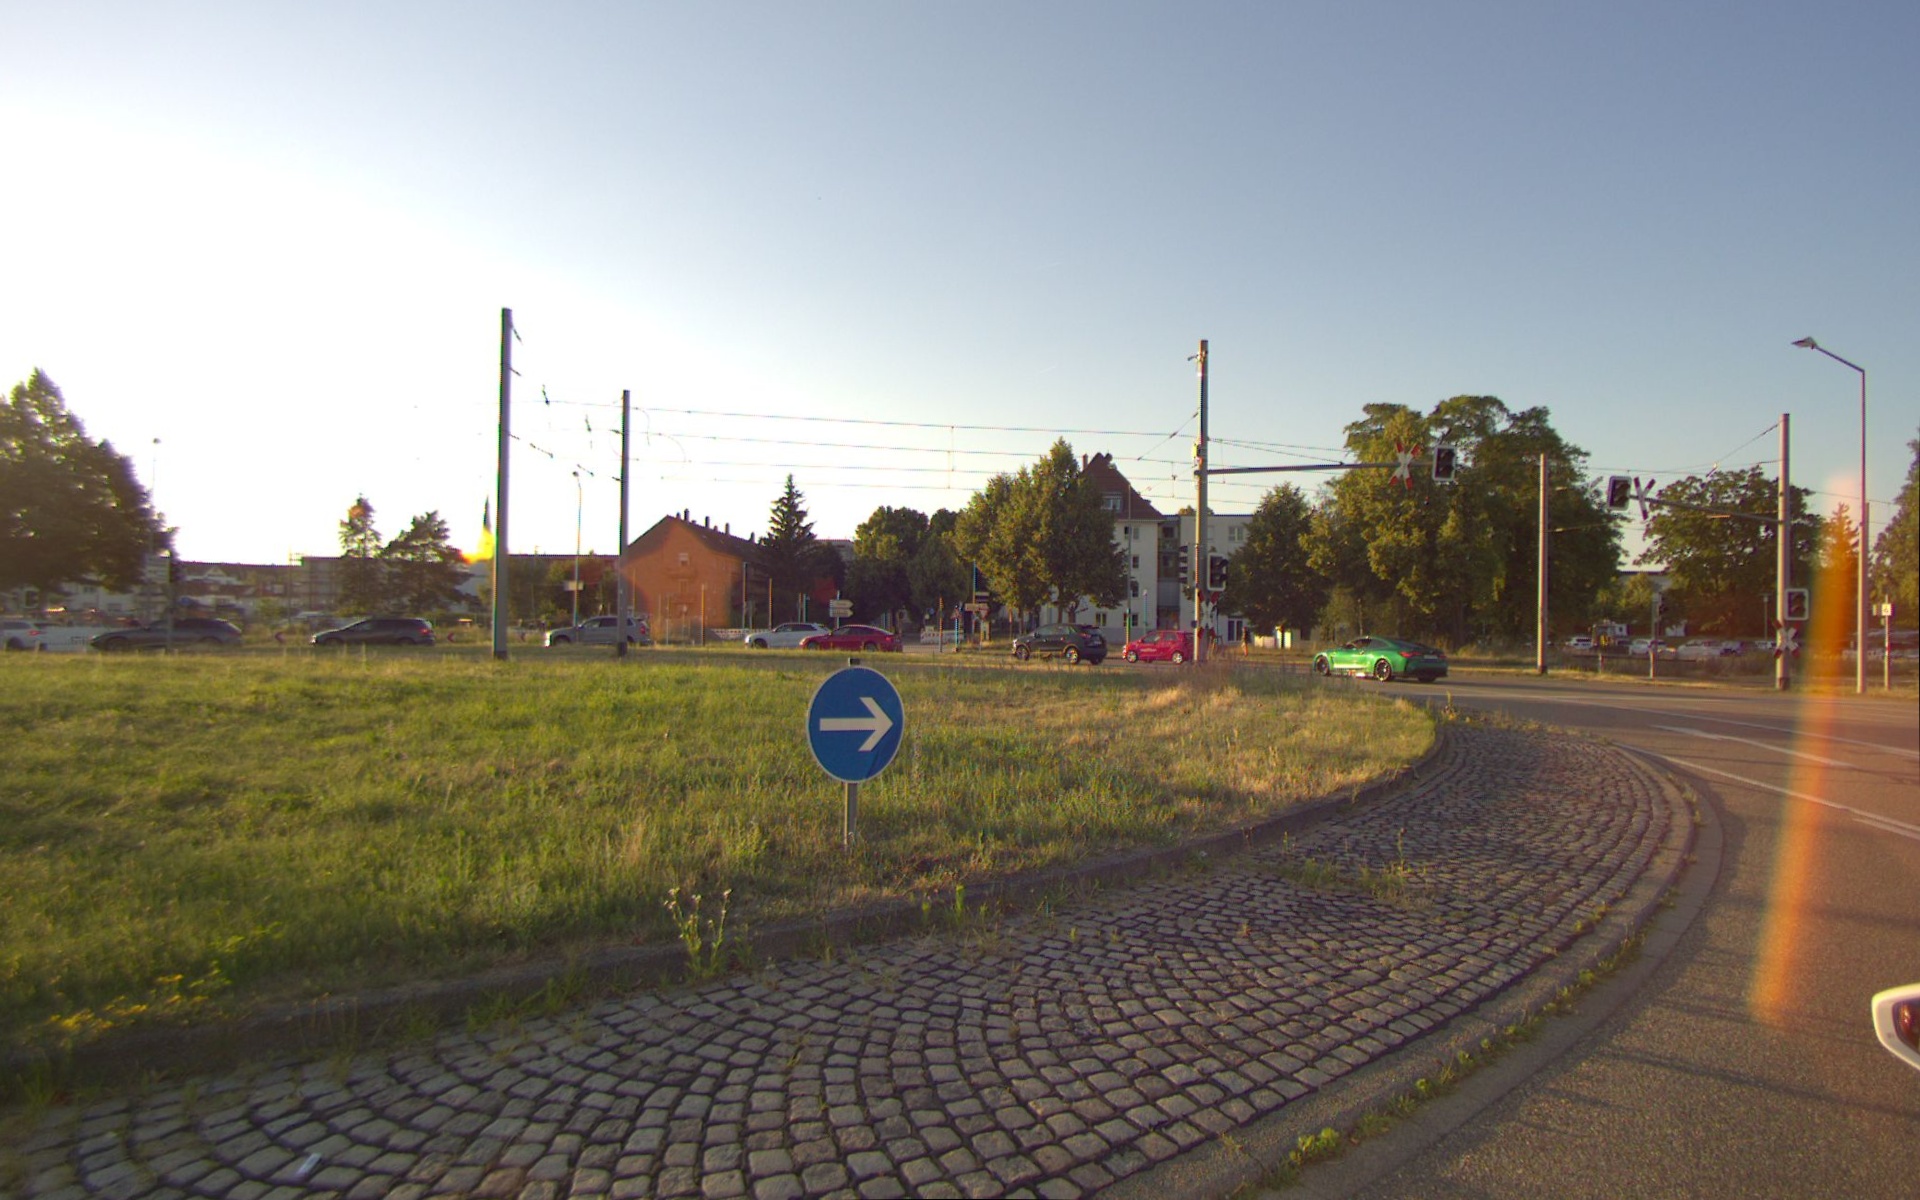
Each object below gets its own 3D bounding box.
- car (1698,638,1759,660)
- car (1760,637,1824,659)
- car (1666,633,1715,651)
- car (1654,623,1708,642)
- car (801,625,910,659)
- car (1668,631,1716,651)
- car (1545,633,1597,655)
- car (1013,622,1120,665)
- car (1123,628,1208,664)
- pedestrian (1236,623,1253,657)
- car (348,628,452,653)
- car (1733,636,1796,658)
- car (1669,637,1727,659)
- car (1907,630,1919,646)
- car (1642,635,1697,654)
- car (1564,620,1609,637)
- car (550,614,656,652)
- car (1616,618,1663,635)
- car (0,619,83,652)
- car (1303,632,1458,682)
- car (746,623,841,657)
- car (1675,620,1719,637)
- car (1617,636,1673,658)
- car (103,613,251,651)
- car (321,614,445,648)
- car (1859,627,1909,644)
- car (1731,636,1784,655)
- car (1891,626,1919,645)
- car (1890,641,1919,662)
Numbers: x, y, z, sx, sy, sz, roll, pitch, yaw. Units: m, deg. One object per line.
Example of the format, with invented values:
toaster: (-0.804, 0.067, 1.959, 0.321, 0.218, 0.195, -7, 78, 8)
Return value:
car: (61.606, 3.909, 80.572, 1.960, 1.625, 4.002, 1, -1, 3)
car: (66.340, 3.786, 80.182, 1.960, 1.625, 4.002, 1, -1, 3)
car: (73.130, 4.186, 100.588, 3.934, 1.684, 1.994, 0, -1, 35)
car: (80.197, 3.644, 111.753, 4.507, 2.040, 2.000, 1, -1, 0)
car: (-4.600, 1.835, 44.499, 4.408, 1.410, 1.896, 0, -1, 19)
car: (75.600, 4.220, 103.860, 3.934, 2.040, 1.994, 0, -1, 35)
car: (49.385, 3.542, 81.239, 1.960, 1.625, 4.002, 1, -1, 3)
car: (4.185, 1.689, 39.979, 1.883, 1.605, 3.947, 2, -1, -45)
car: (9.234, 2.031, 45.248, 3.440, 1.519, 1.634, 0, -1, 42)
pedestrian: (16.486, 2.298, 58.213, 0.614, 1.918, 0.662, 2, 0, -35)
car: (-26.143, 1.884, 47.039, 3.936, 1.119, 1.683, 1, -1, -18)
car: (63.986, 3.714, 79.942, 1.960, 1.625, 4.002, 1, -1, 3)
car: (59.487, 3.847, 81.049, 1.960, 1.625, 4.002, 1, -1, 3)
car: (105.553, 4.108, 108.735, 1.971, 1.728, 3.979, 1, -1, -22)
car: (69.180, 4.327, 97.943, 3.919, 1.684, 1.904, 1, -1, 5)
car: (79.546, 3.650, 127.637, 4.507, 2.040, 2.000, 1, -1, 0)
car: (-17.535, 1.627, 49.500, 4.544, 1.759, 1.893, 1, -1, -7)
car: (86.220, 3.381, 127.453, 4.505, 2.040, 2.001, 1, -1, 5)
car: (-42.267, 1.566, 44.857, 4.377, 1.385, 2.111, 1, -1, 3)
car: (13.190, 1.758, 31.863, 1.968, 1.389, 4.717, 1, -1, -17)
car: (-8.811, 2.107, 53.422, 4.621, 1.728, 2.001, 1, -1, 4)
car: (93.171, 3.587, 127.045, 4.033, 2.040, 2.001, 1, -1, 4)
car: (54.727, 3.700, 80.347, 1.960, 1.625, 4.002, 1, -1, 3)
car: (-30.689, 1.257, 39.570, 4.299, 1.394, 1.985, 1, -1, -29)
car: (-24.326, 1.315, 42.571, 4.323, 1.394, 1.989, 1, -1, -24)
car: (108.000, 4.125, 117.464, 3.919, 1.840, 2.001, 1, -1, 5)
car: (77.316, 4.416, 97.427, 3.938, 1.684, 1.894, 0, -1, 39)
car: (107.420, 4.025, 112.613, 3.919, 2.040, 2.001, 1, -1, 11)
car: (76.324, 4.085, 79.487, 1.960, 1.625, 4.002, 1, -1, 3)
